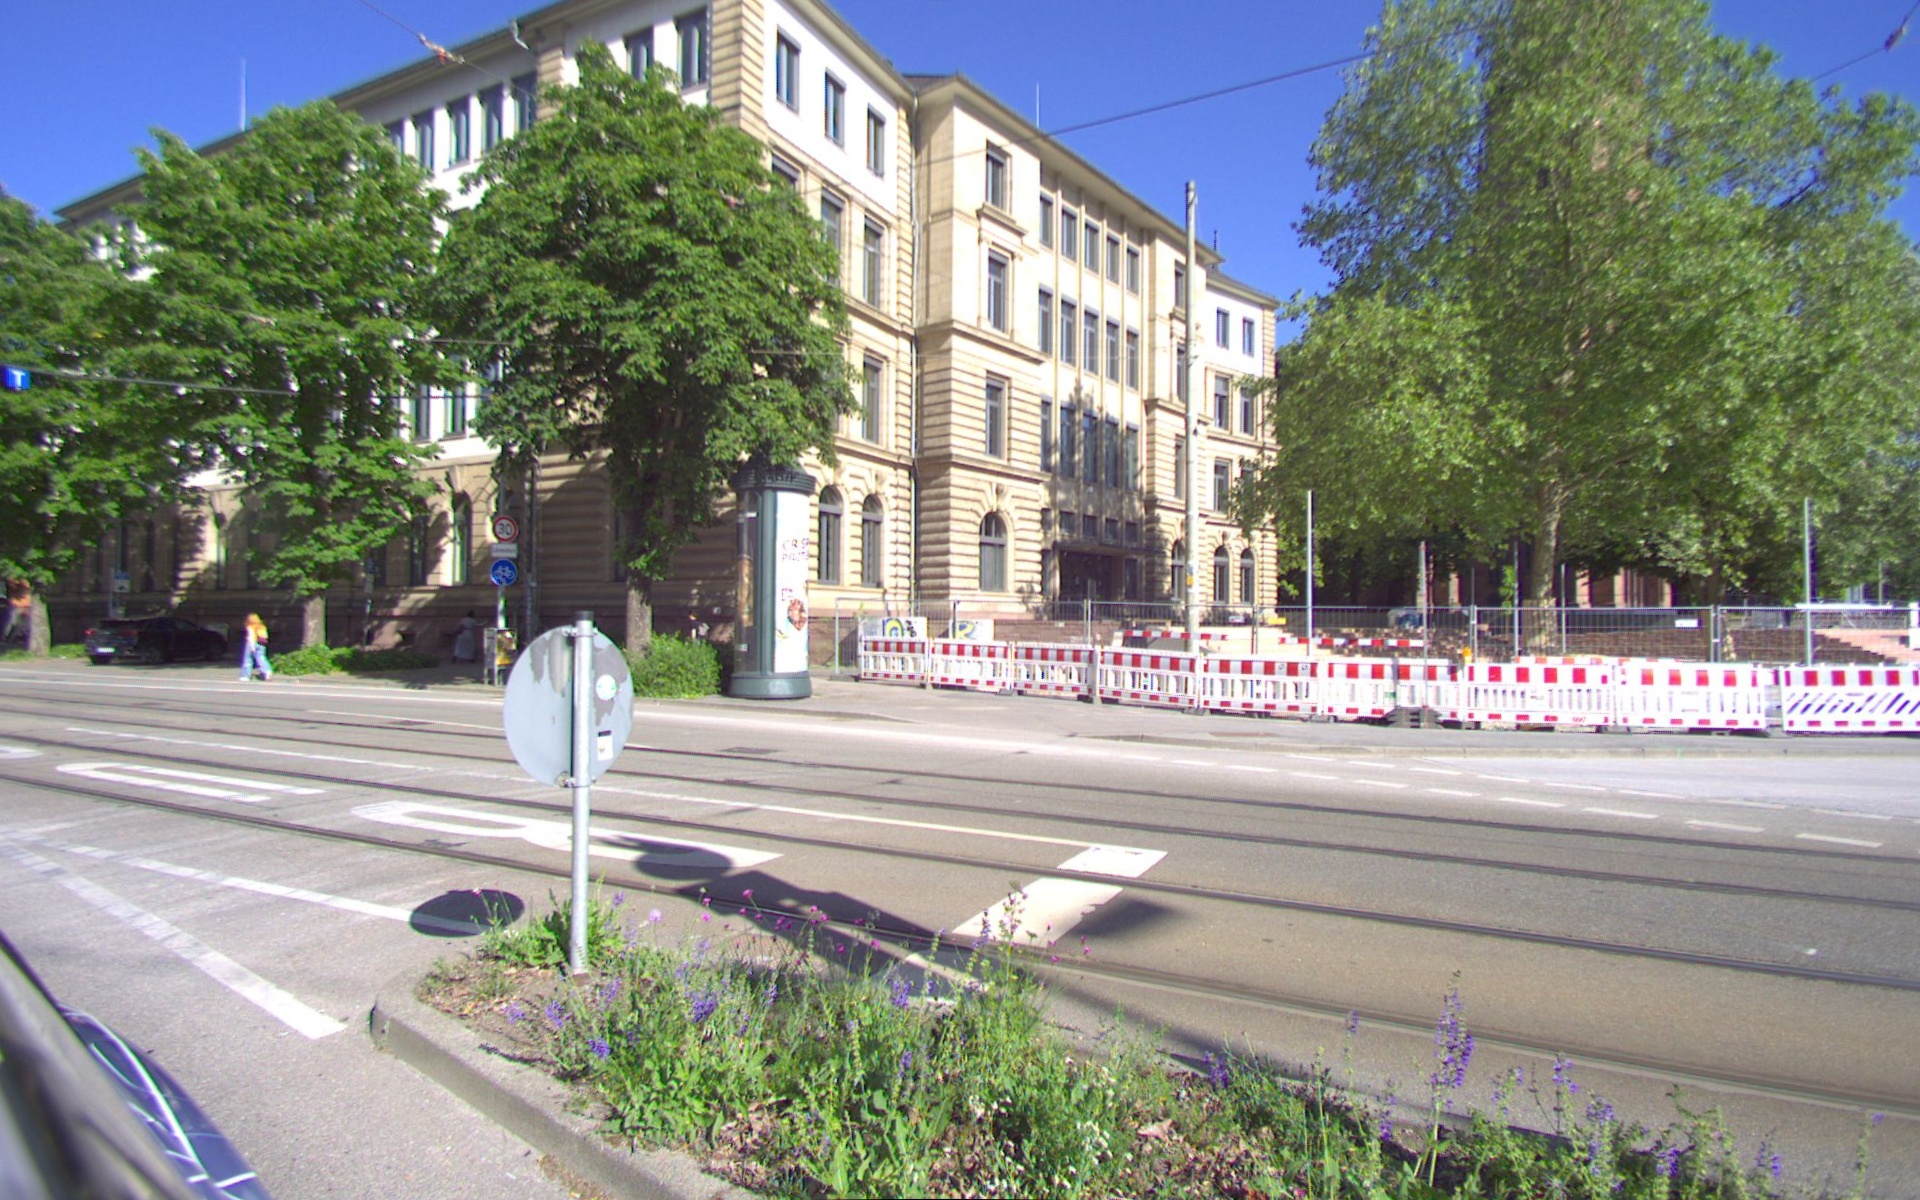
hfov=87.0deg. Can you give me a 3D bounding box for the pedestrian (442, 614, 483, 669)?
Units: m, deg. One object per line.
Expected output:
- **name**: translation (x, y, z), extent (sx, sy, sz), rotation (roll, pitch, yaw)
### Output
- **pedestrian**: translation (-14.998, 1.233, 30.517), extent (0.671, 1.578, 0.849), rotation (0, 2, 31)

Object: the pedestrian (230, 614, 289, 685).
- **pedestrian**: translation (-17.395, 1.248, 25.141), extent (1.027, 1.682, 0.766), rotation (-4, -5, 23)

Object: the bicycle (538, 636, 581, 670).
- **bicycle**: translation (-11.480, 1.511, 28.973), extent (1.356, 0.910, 0.394), rotation (0, 0, 31)

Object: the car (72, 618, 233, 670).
- **car**: translation (-25.999, 1.390, 32.801), extent (1.895, 1.586, 4.108), rotation (0, -2, 1)

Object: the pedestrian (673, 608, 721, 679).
- **pedestrian**: translation (-6.500, 1.066, 25.015), extent (0.840, 1.682, 0.725), rotation (2, 0, 21)

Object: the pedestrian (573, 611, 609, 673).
- **pedestrian**: translation (-9.528, 1.080, 26.119), extent (0.651, 1.574, 0.573), rotation (-1, -2, 29)
